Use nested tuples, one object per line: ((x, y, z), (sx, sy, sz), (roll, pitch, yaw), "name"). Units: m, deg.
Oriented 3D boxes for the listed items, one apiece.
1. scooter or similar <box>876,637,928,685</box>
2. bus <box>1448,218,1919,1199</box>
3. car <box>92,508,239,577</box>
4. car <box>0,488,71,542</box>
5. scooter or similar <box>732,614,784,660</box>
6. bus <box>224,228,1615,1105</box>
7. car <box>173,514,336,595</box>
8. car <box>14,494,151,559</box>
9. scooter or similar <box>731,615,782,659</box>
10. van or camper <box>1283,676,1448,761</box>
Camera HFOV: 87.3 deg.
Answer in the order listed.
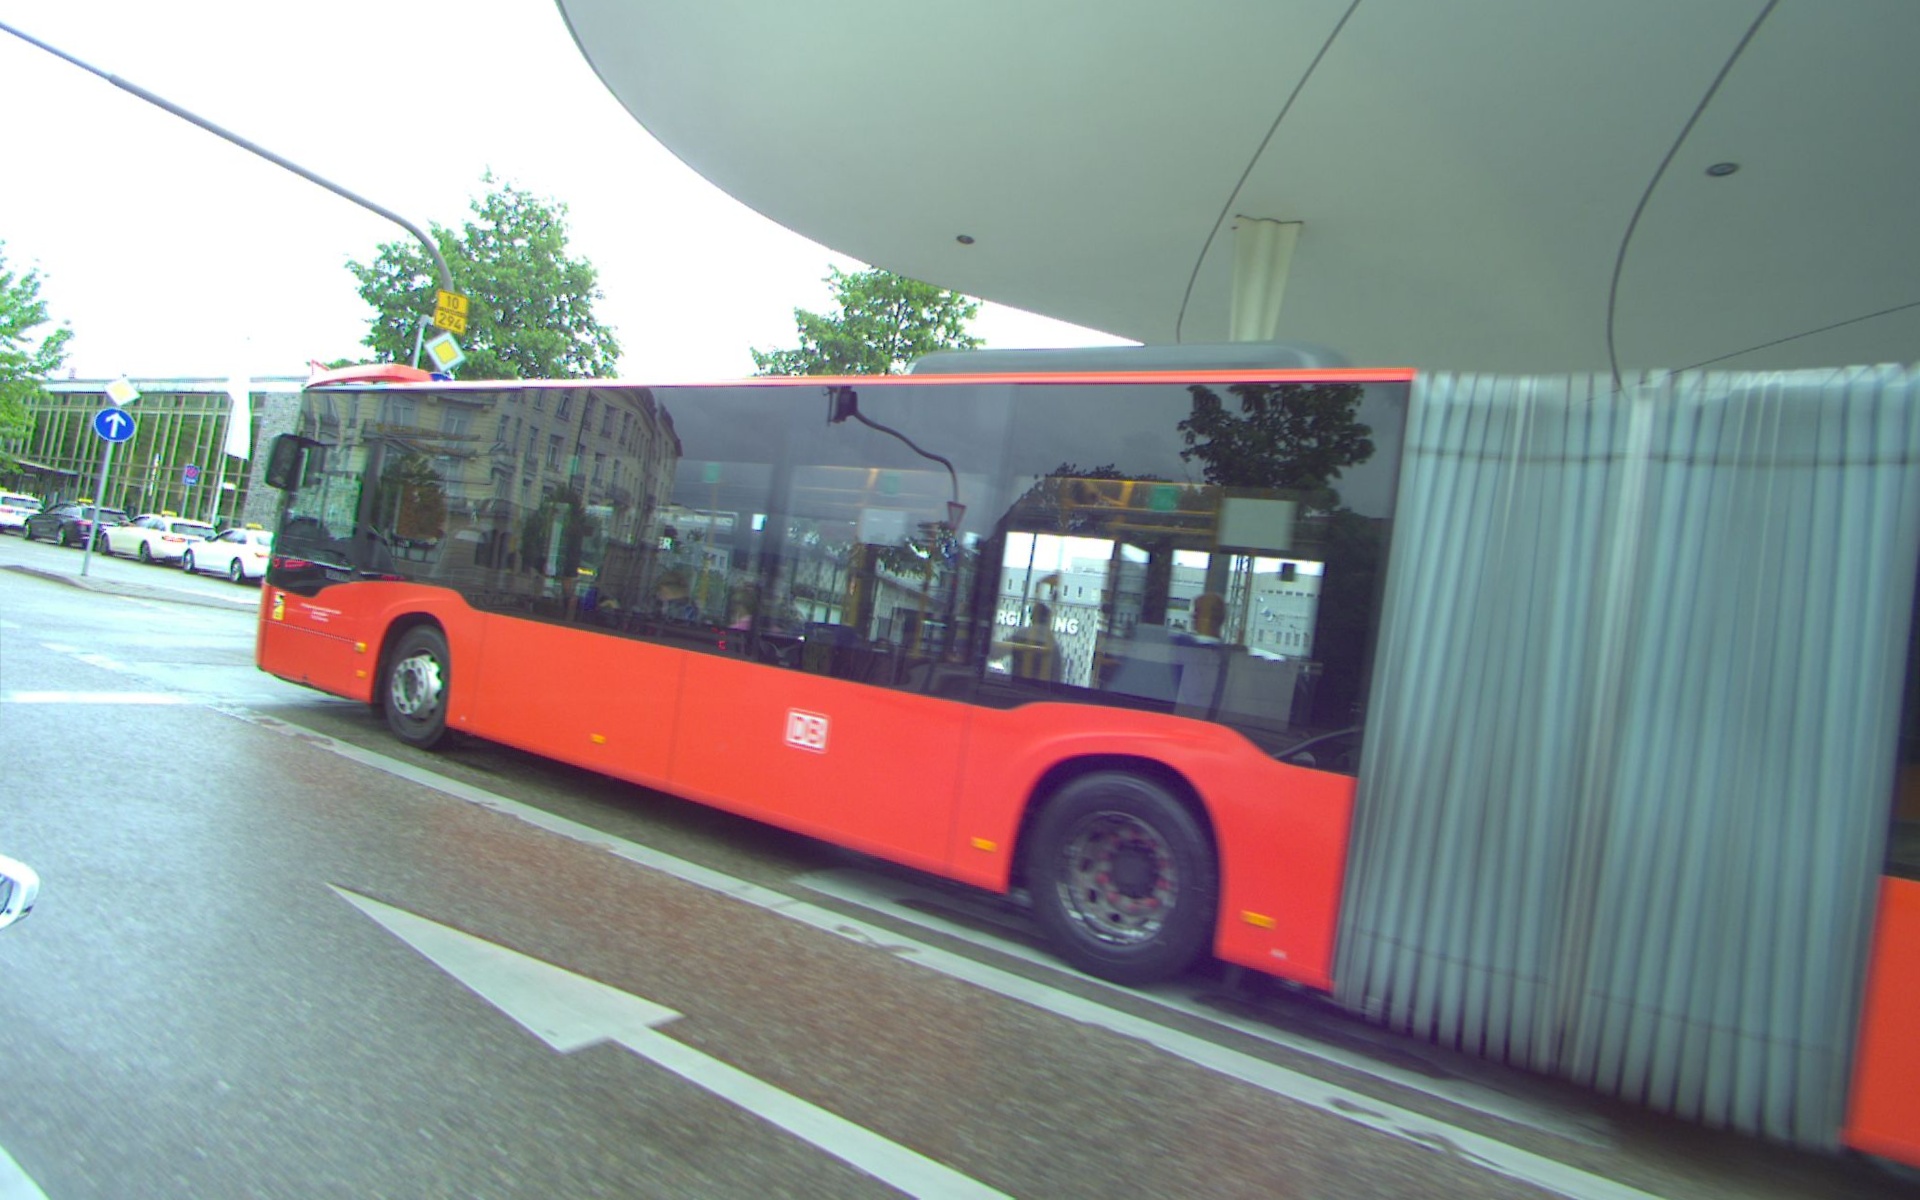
((-1.841, 1.929, 31.954), (1.503, 1.285, 0.467), (8, -1, -4), "scooter or similar")
((6.078, 0.827, 2.801), (7.985, 3.210, 2.748), (7, -1, 32), "bus")
((-24.115, -1.756, 30.490), (4.588, 1.468, 1.851), (7, -2, 30), "car")
((-34.962, -3.266, 36.656), (4.736, 1.618, 2.000), (7, -1, 25), "car")
((-6.009, 1.091, 29.932), (1.309, 1.167, 0.465), (9, -1, -21), "scooter or similar")
((-1.369, -0.148, 7.461), (10.025, 3.210, 2.748), (7, -1, 32), "bus")
((-19.386, -1.252, 27.602), (4.537, 1.608, 1.778), (7, -1, 30), "car")
((-29.377, -2.480, 33.654), (4.661, 1.542, 1.918), (7, -2, 30), "car")
((-6.178, 1.135, 30.590), (1.313, 1.157, 0.464), (9, -2, -31), "scooter or similar")
((16.771, 4.873, 41.756), (5.873, 2.492, 2.108), (7, -2, 32), "van or camper")
